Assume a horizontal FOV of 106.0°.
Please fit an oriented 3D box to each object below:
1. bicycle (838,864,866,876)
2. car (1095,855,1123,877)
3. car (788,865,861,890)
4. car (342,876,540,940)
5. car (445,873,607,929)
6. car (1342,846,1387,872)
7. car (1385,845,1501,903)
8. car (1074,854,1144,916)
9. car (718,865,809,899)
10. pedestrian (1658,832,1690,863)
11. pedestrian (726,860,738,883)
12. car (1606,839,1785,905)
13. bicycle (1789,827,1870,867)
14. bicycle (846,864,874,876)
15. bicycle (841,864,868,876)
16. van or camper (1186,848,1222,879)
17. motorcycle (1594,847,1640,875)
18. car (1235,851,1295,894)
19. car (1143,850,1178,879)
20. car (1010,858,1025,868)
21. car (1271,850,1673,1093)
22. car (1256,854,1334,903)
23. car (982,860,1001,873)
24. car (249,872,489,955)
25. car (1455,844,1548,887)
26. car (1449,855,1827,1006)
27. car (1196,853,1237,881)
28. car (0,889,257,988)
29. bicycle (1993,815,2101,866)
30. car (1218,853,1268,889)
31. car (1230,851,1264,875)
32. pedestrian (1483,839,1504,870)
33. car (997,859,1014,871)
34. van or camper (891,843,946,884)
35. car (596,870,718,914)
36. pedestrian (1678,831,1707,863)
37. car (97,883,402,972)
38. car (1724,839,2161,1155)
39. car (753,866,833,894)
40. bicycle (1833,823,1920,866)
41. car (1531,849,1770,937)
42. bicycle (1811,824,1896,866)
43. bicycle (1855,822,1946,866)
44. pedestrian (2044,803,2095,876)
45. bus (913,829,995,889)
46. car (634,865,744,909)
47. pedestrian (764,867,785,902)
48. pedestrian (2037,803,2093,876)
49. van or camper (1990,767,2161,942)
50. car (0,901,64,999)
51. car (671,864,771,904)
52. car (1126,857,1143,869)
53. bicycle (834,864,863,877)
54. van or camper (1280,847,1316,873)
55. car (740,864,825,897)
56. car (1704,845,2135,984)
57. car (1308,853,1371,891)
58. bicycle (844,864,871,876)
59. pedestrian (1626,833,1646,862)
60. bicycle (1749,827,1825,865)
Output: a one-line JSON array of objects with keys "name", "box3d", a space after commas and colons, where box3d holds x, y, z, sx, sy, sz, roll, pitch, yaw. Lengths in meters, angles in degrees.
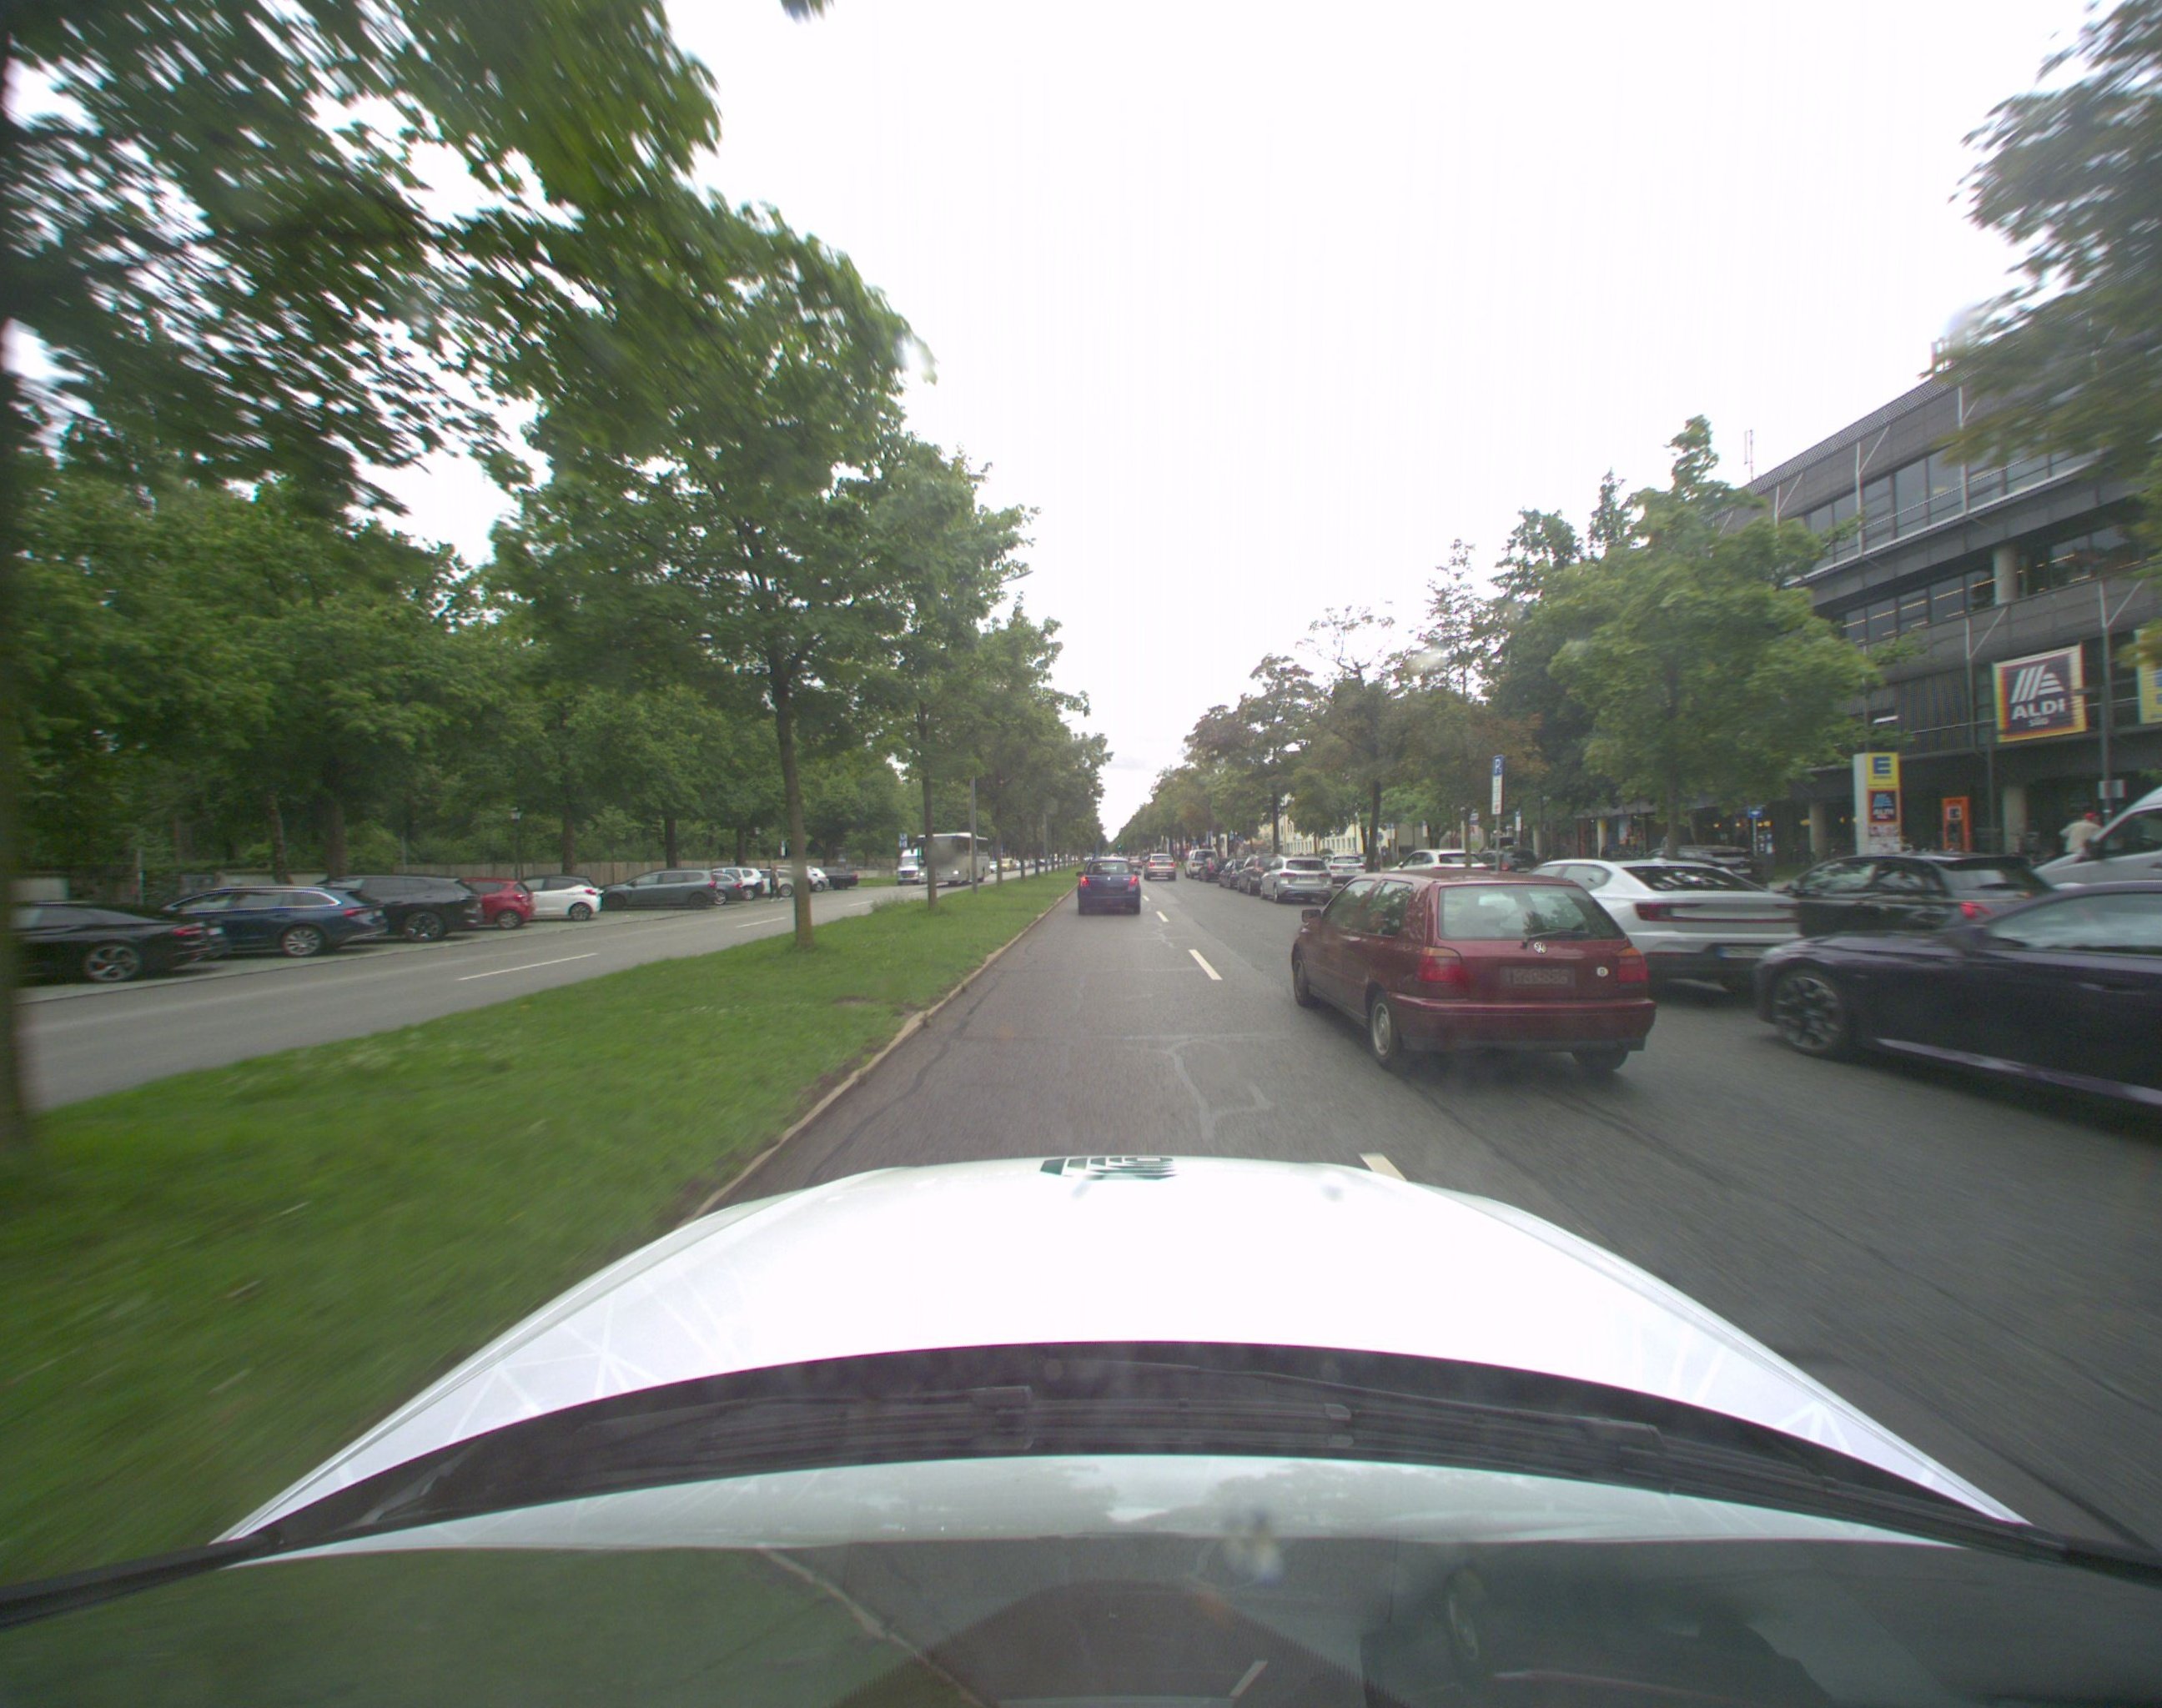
[{"name": "bicycle", "box3d": [-21.869, 1.545, 77.849, 2.488, 1.144, 0.708, 0, 0, 4]}, {"name": "car", "box3d": [1.952, 0.817, 58.010, 1.844, 1.447, 4.098, -1, 0, 1]}, {"name": "car", "box3d": [-16.261, 1.486, 51.601, 4.121, 1.474, 1.688, 0, -1, -32]}, {"name": "car", "box3d": [-17.983, 1.459, 23.176, 4.118, 1.501, 1.901, -2, 0, -29]}, {"name": "car", "box3d": [-17.759, 1.463, 26.337, 4.118, 1.501, 1.901, -2, 0, -29]}, {"name": "car", "box3d": [18.040, 0.303, 51.938, 1.676, 1.585, 4.032, -1, 0, 4]}, {"name": "car", "box3d": [11.321, 0.573, 25.855, 1.677, 1.632, 4.782, -1, 0, 2]}, {"name": "car", "box3d": [0.743, 0.795, 23.007, 1.783, 1.555, 4.000, -1, 0, 0]}, {"name": "car", "box3d": [-16.519, 1.423, 42.358, 4.122, 1.585, 1.900, -2, 0, -32]}, {"name": "pedestrian", "box3d": [33.381, -0.347, 45.849, 1.012, 1.704, 1.047, 0, 0, 2]}, {"name": "pedestrian", "box3d": [-25.041, 1.246, 58.390, 0.682, 1.612, 0.686, -1, -1, -29]}, {"name": "car", "box3d": [17.154, 0.464, 23.062, 1.678, 1.632, 4.498, -1, 0, 0]}, {"name": "bicycle", "box3d": [29.679, -0.277, 32.319, 2.605, 1.508, 0.797, -2, 0, -5]}, {"name": "bicycle", "box3d": [-21.734, 1.543, 80.058, 2.488, 1.144, 0.708, 0, 0, 4]}, {"name": "bicycle", "box3d": [-21.848, 1.570, 78.546, 2.488, 1.144, 0.601, 0, 0, 4]}, {"name": "van or camper", "box3d": [8.212, 0.610, 54.813, 1.936, 1.975, 4.309, -1, 0, 3]}, {"name": "motorcycle", "box3d": [22.875, 0.292, 34.808, 0.603, 1.140, 2.052, -5, 0, 2]}, {"name": "car", "box3d": [7.412, 0.713, 33.125, 1.677, 1.626, 4.309, 0, 0, 3]}, {"name": "car", "box3d": [5.005, 0.646, 51.958, 1.844, 1.743, 4.098, -1, 0, 1]}, {"name": "car", "box3d": [-9.706, 1.361, 124.414, 1.844, 1.447, 4.098, -1, 0, 1]}, {"name": "car", "box3d": [2.865, 0.727, 6.983, 1.616, 1.454, 3.951, -1, 0, 2]}, {"name": "car", "box3d": [7.152, 0.771, 27.633, 1.677, 1.525, 4.459, 0, 0, 3]}, {"name": "car", "box3d": [-10.999, 1.532, 100.559, 1.844, 1.447, 4.098, -1, 0, 1]}, {"name": "car", "box3d": [-17.211, 1.366, 19.996, 4.122, 1.679, 1.900, -2, 0, -32]}, {"name": "car", "box3d": [17.614, 0.456, 34.388, 1.678, 1.632, 4.383, -1, 0, 0]}, {"name": "car", "box3d": [6.449, 0.747, 10.190, 1.700, 1.454, 4.512, 1, 0, 1]}, {"name": "car", "box3d": [8.052, 0.736, 48.619, 1.679, 1.553, 4.305, -1, 0, 0]}, {"name": "car", "box3d": [-17.379, 1.427, 13.957, 4.212, 1.410, 1.900, -2, 0, -32]}, {"name": "bicycle", "box3d": [30.258, -0.431, 25.514, 2.605, 1.508, 0.797, -2, 0, -5]}, {"name": "car", "box3d": [7.543, 0.755, 38.288, 1.677, 1.553, 4.309, -1, 0, 3]}, {"name": "car", "box3d": [11.672, 0.607, 57.438, 1.678, 1.585, 4.029, -1, 0, 2]}, {"name": "pedestrian", "box3d": [22.918, 0.046, 45.272, 0.745, 1.706, 0.702, -2, 0, 2]}, {"name": "car", "box3d": [-10.242, 1.500, 111.089, 1.844, 1.447, 4.098, -1, 0, 1]}, {"name": "van or camper", "box3d": [-12.137, 0.672, 61.416, 2.300, 2.833, 7.498, -2, 0, 2]}, {"name": "car", "box3d": [-16.957, 1.473, 32.700, 4.199, 1.542, 1.901, -2, 0, -29]}, {"name": "pedestrian", "box3d": [33.369, -0.376, 44.447, 0.959, 1.704, 0.799, 0, 0, 2]}, {"name": "car", "box3d": [-17.225, 1.458, 17.213, 4.122, 1.469, 1.900, -2, 0, -32]}, {"name": "car", "box3d": [6.207, 0.693, 4.594, 1.758, 1.546, 4.426, -1, 0, 2]}, {"name": "car", "box3d": [-17.035, 1.506, 48.225, 4.122, 1.474, 1.900, -2, 0, -32]}, {"name": "bicycle", "box3d": [29.644, -0.345, 30.366, 2.605, 1.508, 0.797, -2, 0, -5]}, {"name": "car", "box3d": [10.906, 0.662, 16.106, 1.676, 1.454, 4.739, -1, 0, 4]}, {"name": "bicycle", "box3d": [29.632, -0.346, 31.242, 2.605, 1.508, 0.797, -2, 0, -5]}, {"name": "bicycle", "box3d": [29.605, -0.353, 29.427, 2.605, 1.508, 0.797, -2, 0, -5]}, {"name": "pedestrian", "box3d": [25.598, -0.374, 21.088, 0.676, 1.830, 0.541, -1, 0, -10]}, {"name": "bus", "box3d": [-8.041, 0.282, 53.457, 2.727, 3.377, 12.022, -3, 0, 3]}, {"name": "car", "box3d": [-17.006, 1.376, 35.381, 4.122, 1.695, 1.900, -2, 0, -32]}, {"name": "pedestrian", "box3d": [-14.200, 1.400, 37.784, 0.723, 1.612, 0.678, -2, 0, -6]}, {"name": "pedestrian", "box3d": [25.250, -0.375, 20.906, 0.557, 1.830, 0.679, -1, 0, -9]}, {"name": "van or camper", "box3d": [16.750, -0.023, 11.183, 2.016, 2.558, 5.960, -2, 0, 2]}, {"name": "car", "box3d": [-17.404, 1.447, 10.951, 4.217, 1.322, 1.900, -2, 0, -32]}, {"name": "car", "box3d": [-17.089, 1.375, 38.735, 4.122, 1.695, 1.900, -2, 0, -32]}, {"name": "car", "box3d": [6.510, 1.077, 98.781, 1.844, 1.447, 4.098, -1, 0, 1]}, {"name": "bicycle", "box3d": [-21.968, 1.546, 76.852, 2.488, 1.144, 0.724, 0, 0, 4]}, {"name": "van or camper", "box3d": [17.684, 0.476, 66.496, 1.936, 1.975, 4.309, -1, 0, 3]}, {"name": "car", "box3d": [-16.620, 1.452, 45.388, 4.122, 1.652, 1.900, -2, 0, -32]}, {"name": "car", "box3d": [10.574, 0.657, 10.788, 1.677, 1.454, 4.012, -1, 0, 3]}, {"name": "car", "box3d": [11.605, 0.763, 36.780, 1.678, 1.585, 4.029, -1, 0, 2]}, {"name": "bicycle", "box3d": [-21.778, 1.543, 79.327, 2.488, 1.144, 0.655, 0, 0, 4]}, {"name": "pedestrian", "box3d": [32.023, -0.372, 47.024, 0.678, 1.704, 0.698, 0, 0, 2]}, {"name": "bicycle", "box3d": [29.800, -0.338, 34.395, 2.605, 1.508, 0.797, -2, 0, -5]}]
